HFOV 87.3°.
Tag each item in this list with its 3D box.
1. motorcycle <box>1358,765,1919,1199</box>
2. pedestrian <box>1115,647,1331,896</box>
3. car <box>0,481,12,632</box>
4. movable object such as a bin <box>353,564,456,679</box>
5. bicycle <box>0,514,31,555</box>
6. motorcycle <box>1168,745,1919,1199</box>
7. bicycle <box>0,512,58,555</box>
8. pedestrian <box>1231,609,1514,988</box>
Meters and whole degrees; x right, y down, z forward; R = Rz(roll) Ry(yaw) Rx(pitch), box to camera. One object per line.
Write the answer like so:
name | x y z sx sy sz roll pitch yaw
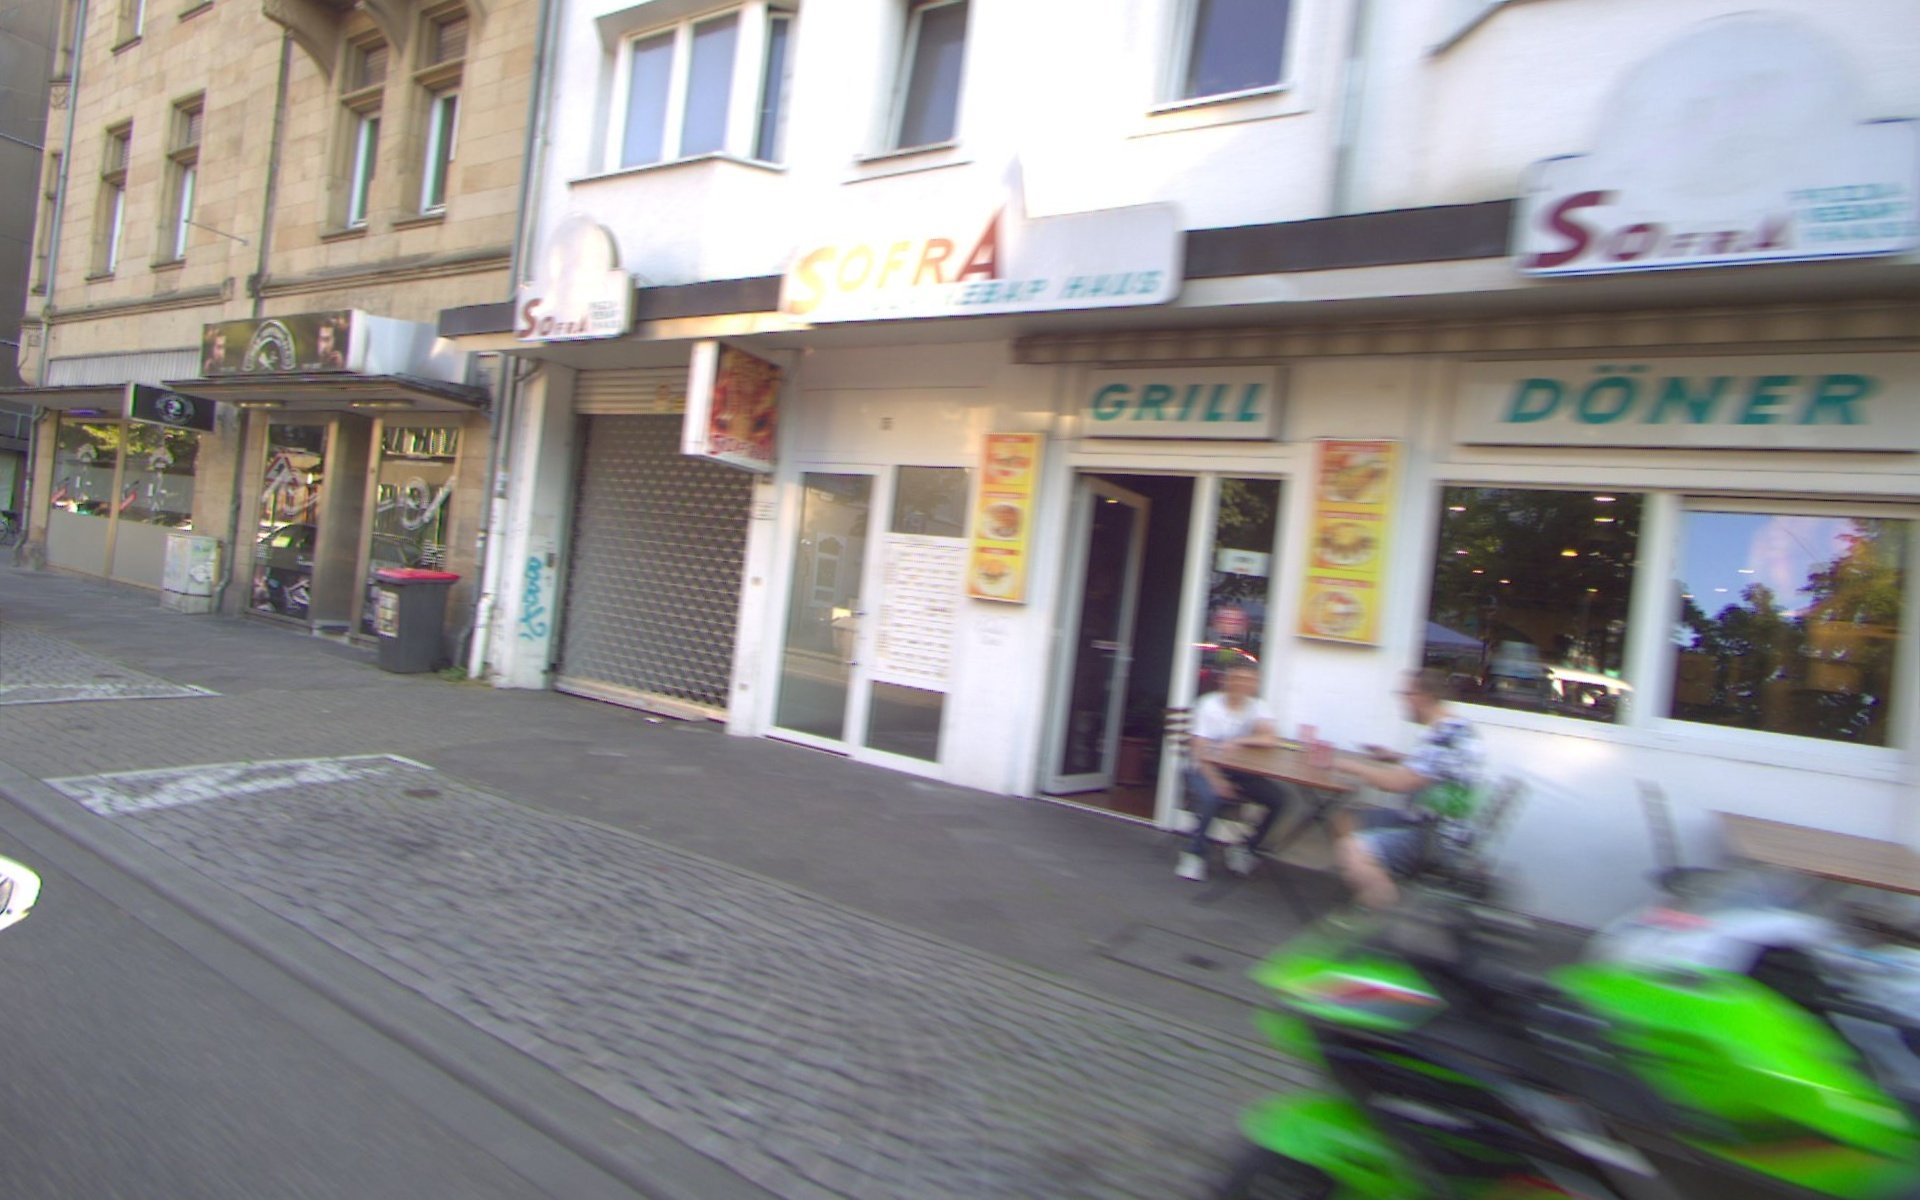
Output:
motorcycle | 2.129 1.148 2.197 2.174 1.137 0.589 7 0 32
pedestrian | 1.503 0.961 5.830 0.734 1.236 0.785 6 3 -28
car | -12.130 -0.700 11.039 3.936 1.581 1.680 7 1 35
movable object such as a bin | -5.848 0.230 10.593 0.653 1.097 0.596 7 -1 33
bicycle | -27.587 -1.930 28.903 1.658 1.043 0.416 8 0 14
motorcycle | 1.502 1.052 1.636 2.174 1.216 0.588 7 1 32
bicycle | -28.182 -2.020 30.260 1.742 1.050 0.416 8 0 6
pedestrian | 2.039 0.890 4.922 0.976 1.504 0.957 7 -1 32
